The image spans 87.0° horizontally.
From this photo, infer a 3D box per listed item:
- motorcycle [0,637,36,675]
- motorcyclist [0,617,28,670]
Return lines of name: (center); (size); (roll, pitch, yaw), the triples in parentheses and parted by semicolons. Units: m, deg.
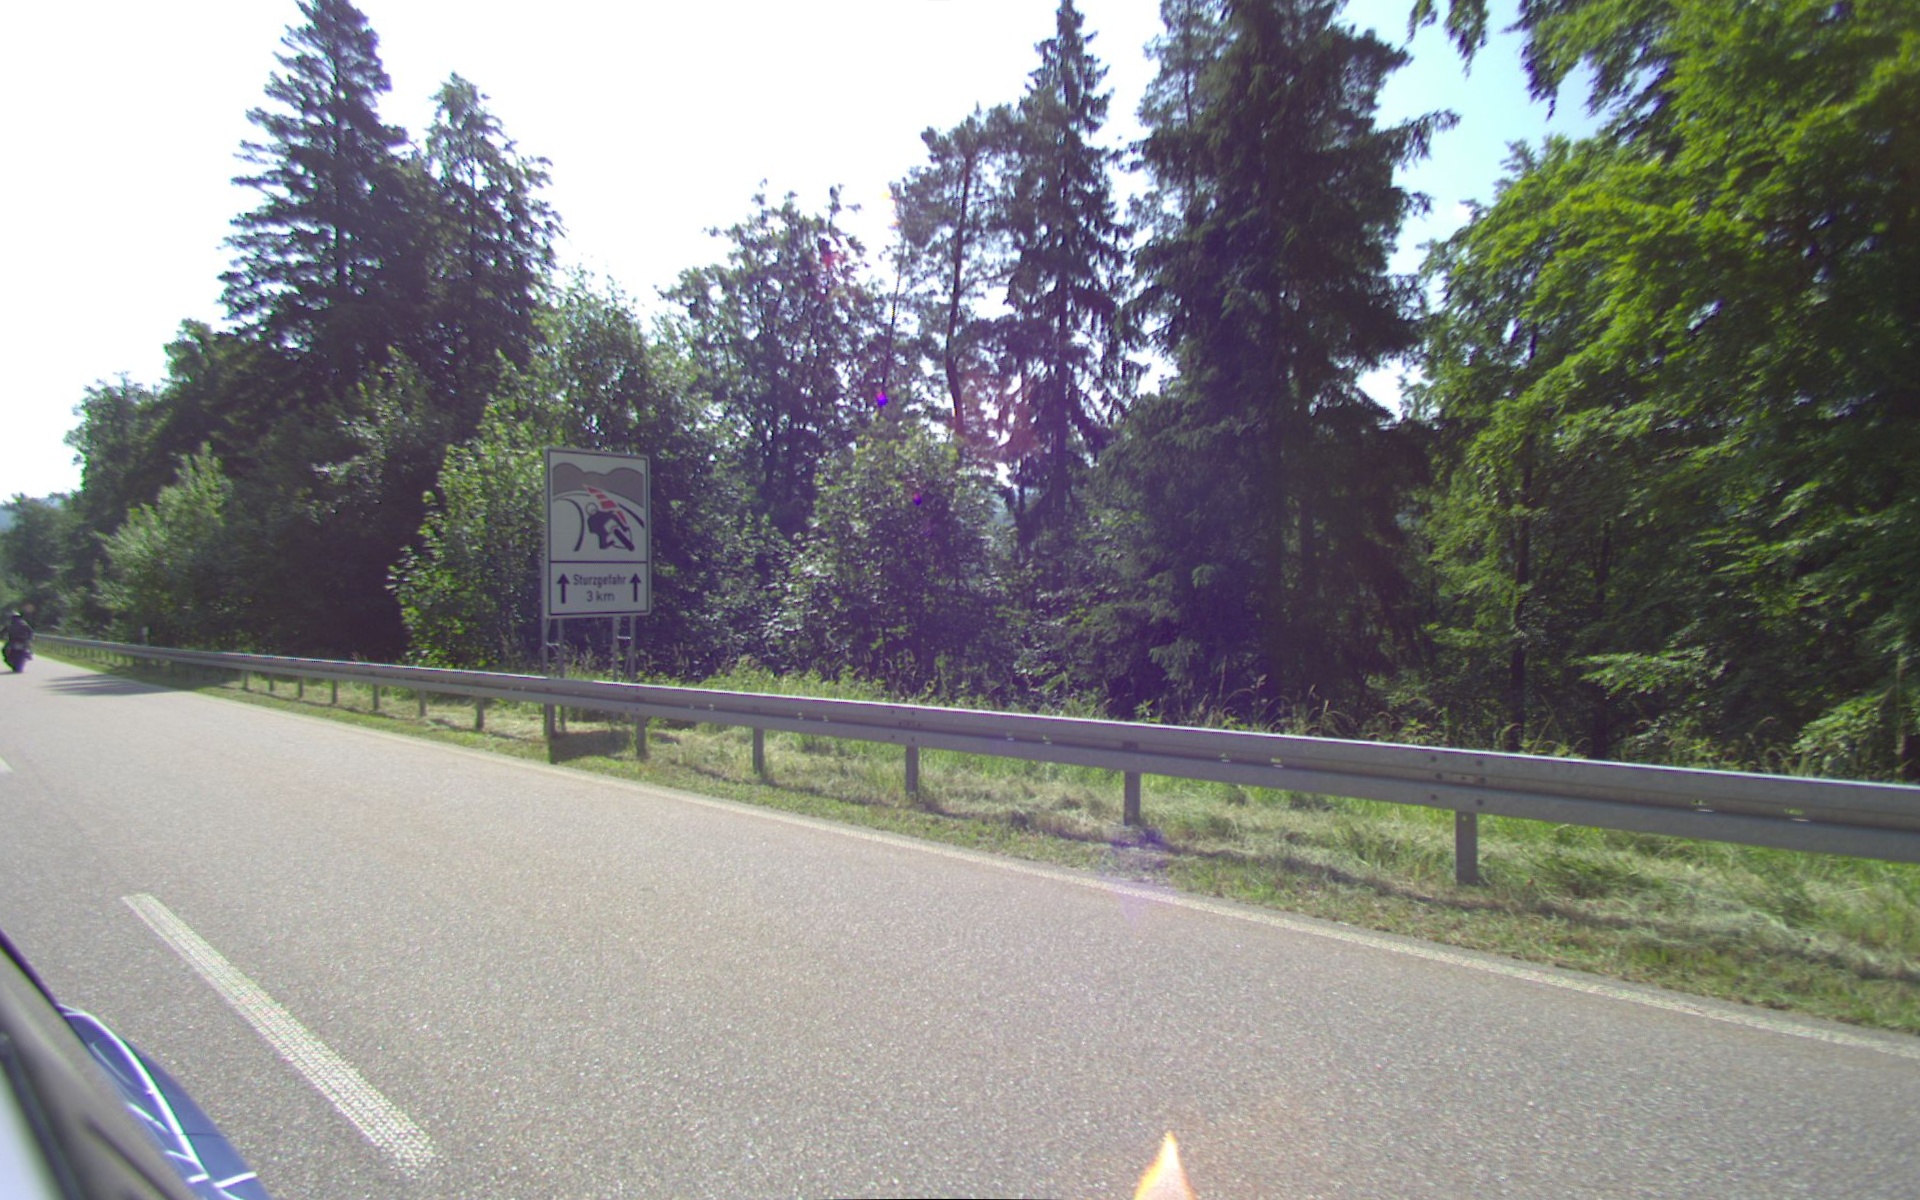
motorcycle: (-28.200, 1.649, 30.077); (1.963, 1.079, 0.973); (-2, -1, 44)
motorcyclist: (-28.130, 1.284, 30.041); (0.650, 1.524, 0.935); (0, -2, -43)
